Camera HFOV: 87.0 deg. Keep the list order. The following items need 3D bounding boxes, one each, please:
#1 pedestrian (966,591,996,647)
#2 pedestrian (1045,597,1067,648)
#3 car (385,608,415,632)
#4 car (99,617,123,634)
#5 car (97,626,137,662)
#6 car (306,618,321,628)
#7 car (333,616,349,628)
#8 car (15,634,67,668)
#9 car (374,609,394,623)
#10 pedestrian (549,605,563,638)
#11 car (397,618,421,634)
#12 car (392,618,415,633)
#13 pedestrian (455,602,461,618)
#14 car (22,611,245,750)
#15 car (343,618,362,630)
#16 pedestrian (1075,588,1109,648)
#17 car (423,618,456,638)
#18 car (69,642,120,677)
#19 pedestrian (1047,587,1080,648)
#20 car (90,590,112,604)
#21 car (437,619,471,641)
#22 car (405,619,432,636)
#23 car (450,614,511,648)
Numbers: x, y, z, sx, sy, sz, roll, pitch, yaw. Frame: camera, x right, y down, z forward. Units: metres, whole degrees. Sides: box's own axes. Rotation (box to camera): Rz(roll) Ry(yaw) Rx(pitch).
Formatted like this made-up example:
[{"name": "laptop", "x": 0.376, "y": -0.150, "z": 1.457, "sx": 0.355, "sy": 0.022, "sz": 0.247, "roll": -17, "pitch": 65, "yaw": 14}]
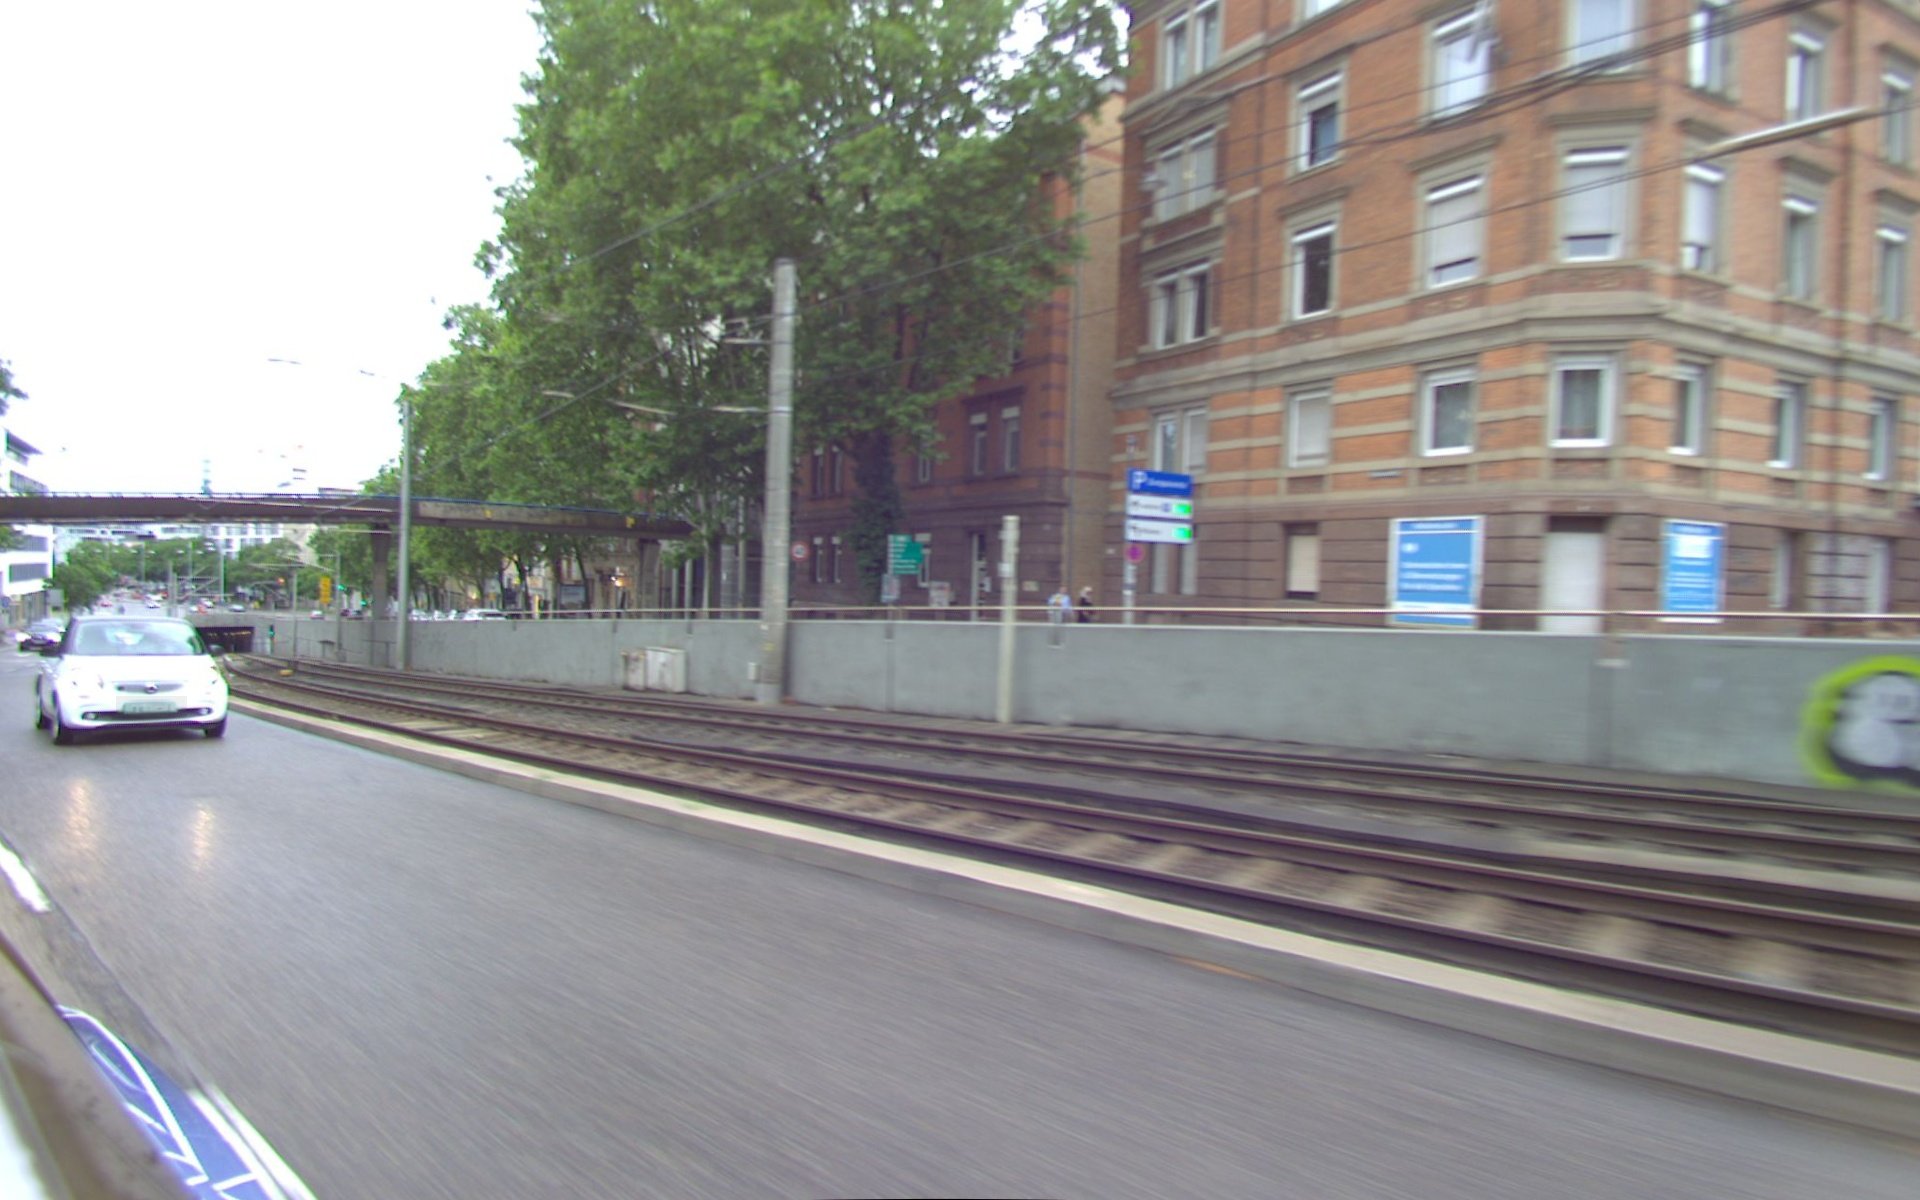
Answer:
[{"name": "pedestrian", "x": 0.622, "y": 0.567, "z": 30.300, "sx": 0.585, "sy": 1.637, "sz": 0.725, "roll": 2, "pitch": -3, "yaw": -29}, {"name": "pedestrian", "x": 2.563, "y": 0.594, "z": 27.045, "sx": 0.330, "sy": 1.344, "sz": 0.505, "roll": 4, "pitch": -4, "yaw": -43}, {"name": "car", "x": -67.677, "y": 2.398, "z": 122.254, "sx": 2.420, "sy": 2.682, "sz": 6.949, "roll": -1, "pitch": 0, "yaw": -35}, {"name": "car", "x": -85.899, "y": 2.596, "z": 102.411, "sx": 1.772, "sy": 1.623, "sz": 4.366, "roll": -1, "pitch": 0, "yaw": -40}, {"name": "car", "x": -55.383, "y": 2.856, "z": 66.569, "sx": 1.771, "sy": 2.047, "sz": 4.009, "roll": -2, "pitch": 1, "yaw": -37}, {"name": "car", "x": -104.081, "y": 3.758, "z": 162.899, "sx": 1.771, "sy": 1.521, "sz": 4.009, "roll": -1, "pitch": 0, "yaw": -37}, {"name": "car", "x": -101.413, "y": 3.546, "z": 165.735, "sx": 1.930, "sy": 1.866, "sz": 4.981, "roll": -1, "pitch": 0, "yaw": -34}, {"name": "car", "x": -52.320, "y": 2.868, "z": 57.682, "sx": 1.771, "sy": 1.678, "sz": 4.009, "roll": -2, "pitch": 1, "yaw": -37}, {"name": "car", "x": -74.666, "y": 2.074, "z": 131.159, "sx": 1.852, "sy": 1.778, "sz": 4.913, "roll": -1, "pitch": 0, "yaw": -35}, {"name": "pedestrian", "x": -25.470, "y": 1.359, "z": 63.807, "sx": 0.660, "sy": 2.029, "sz": 0.937, "roll": -2, "pitch": 1, "yaw": -33}, {"name": "car", "x": -58.558, "y": 2.773, "z": 107.498, "sx": 1.770, "sy": 1.583, "sz": 4.218, "roll": -1, "pitch": 0, "yaw": -34}, {"name": "car", "x": -63.321, "y": 2.892, "z": 115.124, "sx": 1.770, "sy": 1.521, "sz": 4.683, "roll": -1, "pitch": 0, "yaw": -35}, {"name": "pedestrian", "x": -55.742, "y": 1.136, "z": 112.440, "sx": 0.516, "sy": 1.761, "sz": 0.623, "roll": -3, "pitch": 2, "yaw": -28}, {"name": "car", "x": -10.984, "y": 0.981, "z": 13.354, "sx": 4.001, "sy": 1.549, "sz": 1.774, "roll": -2, "pitch": -4, "yaw": 44}, {"name": "car", "x": -85.320, "y": 3.362, "z": 142.157, "sx": 1.771, "sy": 1.521, "sz": 4.116, "roll": -1, "pitch": 0, "yaw": -38}, {"name": "pedestrian", "x": 3.628, "y": 0.505, "z": 27.810, "sx": 0.585, "sy": 1.637, "sz": 0.725, "roll": 2, "pitch": -3, "yaw": -29}, {"name": "car", "x": -46.352, "y": 2.482, "z": 90.032, "sx": 1.901, "sy": 1.613, "sz": 5.212, "roll": -1, "pitch": 0, "yaw": -35}, {"name": "car", "x": -45.523, "y": 3.113, "z": 53.278, "sx": 1.771, "sy": 1.521, "sz": 4.009, "roll": -2, "pitch": 1, "yaw": -37}, {"name": "pedestrian", "x": 2.842, "y": 0.481, "z": 27.804, "sx": 0.585, "sy": 1.637, "sz": 0.725, "roll": 2, "pitch": -3, "yaw": -29}, {"name": "car", "x": -103.301, "y": -0.378, "z": 121.695, "sx": 1.771, "sy": 1.521, "sz": 4.009, "roll": -2, "pitch": 1, "yaw": -37}, {"name": "car", "x": -40.126, "y": 2.346, "z": 80.251, "sx": 1.770, "sy": 1.623, "sz": 4.122, "roll": -1, "pitch": 0, "yaw": -36}, {"name": "car", "x": -52.752, "y": 2.686, "z": 98.551, "sx": 1.770, "sy": 1.521, "sz": 4.218, "roll": -1, "pitch": 0, "yaw": -34}, {"name": "car", "x": -24.596, "y": 1.554, "z": 51.838, "sx": 1.771, "sy": 1.623, "sz": 4.367, "roll": -1, "pitch": 0, "yaw": -39}]
